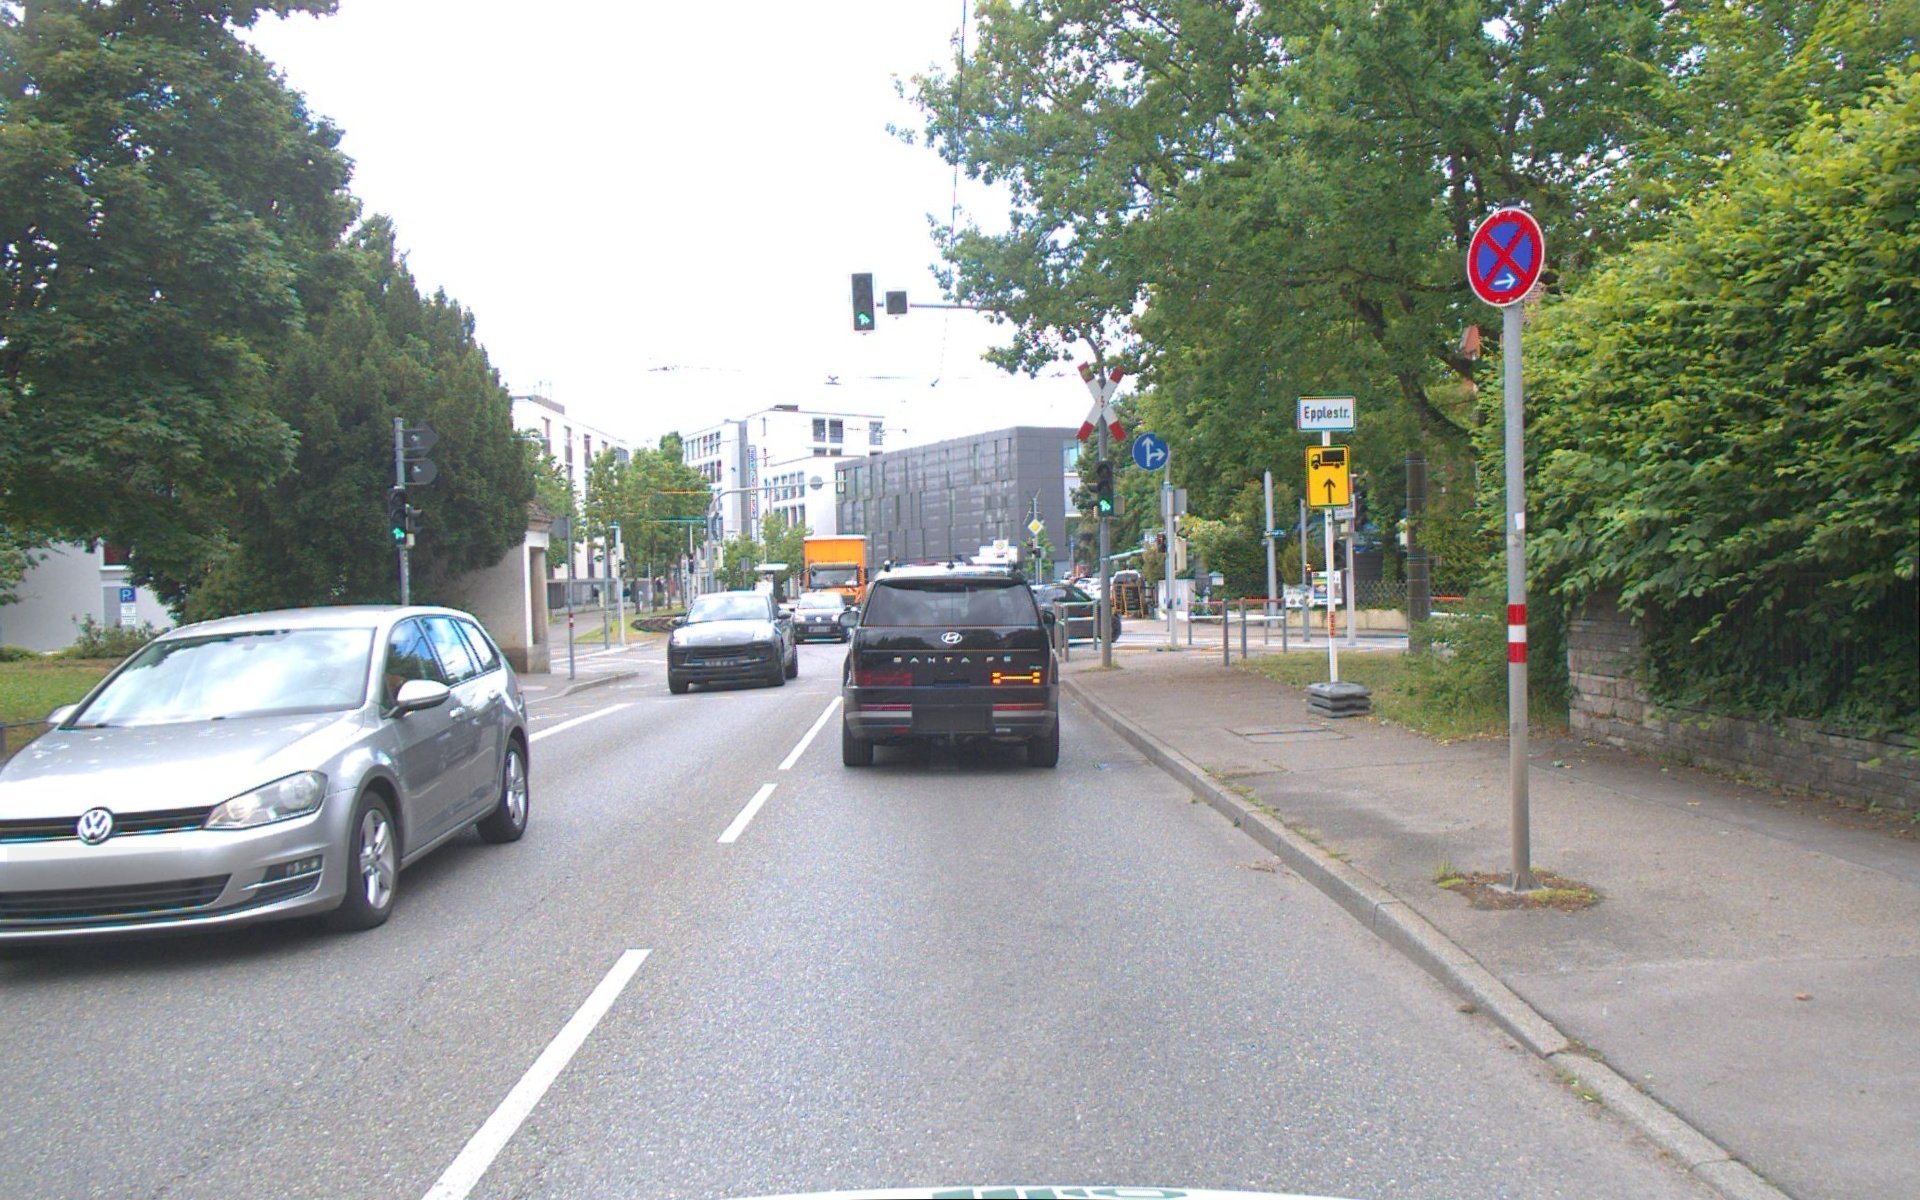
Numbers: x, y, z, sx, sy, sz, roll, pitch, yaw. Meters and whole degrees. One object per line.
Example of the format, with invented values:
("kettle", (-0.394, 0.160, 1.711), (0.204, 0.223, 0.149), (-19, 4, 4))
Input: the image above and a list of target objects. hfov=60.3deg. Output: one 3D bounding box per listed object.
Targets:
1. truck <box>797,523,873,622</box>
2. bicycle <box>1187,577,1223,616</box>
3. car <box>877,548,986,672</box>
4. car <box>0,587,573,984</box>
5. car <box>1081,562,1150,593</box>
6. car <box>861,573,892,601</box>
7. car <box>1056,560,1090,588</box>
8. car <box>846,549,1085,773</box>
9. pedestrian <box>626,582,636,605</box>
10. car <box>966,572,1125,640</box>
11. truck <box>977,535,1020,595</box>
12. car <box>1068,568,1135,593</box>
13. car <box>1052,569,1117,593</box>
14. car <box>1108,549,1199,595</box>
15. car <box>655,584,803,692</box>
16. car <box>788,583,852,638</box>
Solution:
("truck", (-5.255, -1.153, 70.740), (2.714, 3.782, 8.465), (-5, 1, -3))
("bicycle", (8.172, -0.135, 55.320), (0.538, 1.158, 1.872), (-2, 4, -13))
("car", (-0.544, 0.115, 30.805), (1.818, 2.068, 4.436), (-2, 1, -1))
("car", (-3.399, 0.731, 8.665), (1.690, 1.488, 4.154), (-3, 1, 0))
("car", (8.775, -1.279, 93.310), (3.599, 1.460, 1.577), (-4, 0, -29))
("car", (-5.304, -0.837, 105.391), (1.752, 1.690, 4.276), (-3, 1, -1))
("car", (8.125, -1.873, 119.194), (1.953, 1.869, 4.517), (-4, 0, -1))
("car", (-0.072, 0.442, 15.156), (1.877, 1.755, 4.168), (0, 1, -3))
("pedestrian", (-25.036, -0.488, 125.734), (0.601, 1.724, 0.785), (-1, 0, -2))
("car", (2.112, 0.114, 39.472), (1.956, 1.489, 4.510), (-1, 1, 30))
("truck", (2.404, -2.224, 105.454), (2.520, 3.586, 7.811), (-2, 1, 0))
("car", (8.510, -1.161, 99.361), (3.753, 1.499, 1.779), (0, 0, -32))
("car", (7.899, -1.187, 104.747), (3.745, 1.499, 1.783), (0, 0, -27))
("car", (8.379, -1.239, 71.252), (1.814, 1.779, 4.678), (-1, 2, 36))
("car", (-3.907, 0.588, 28.654), (1.900, 1.557, 4.525), (-4, 1, -1))
("car", (-4.114, 0.282, 48.926), (1.630, 1.474, 3.826), (-2, 1, -2))
